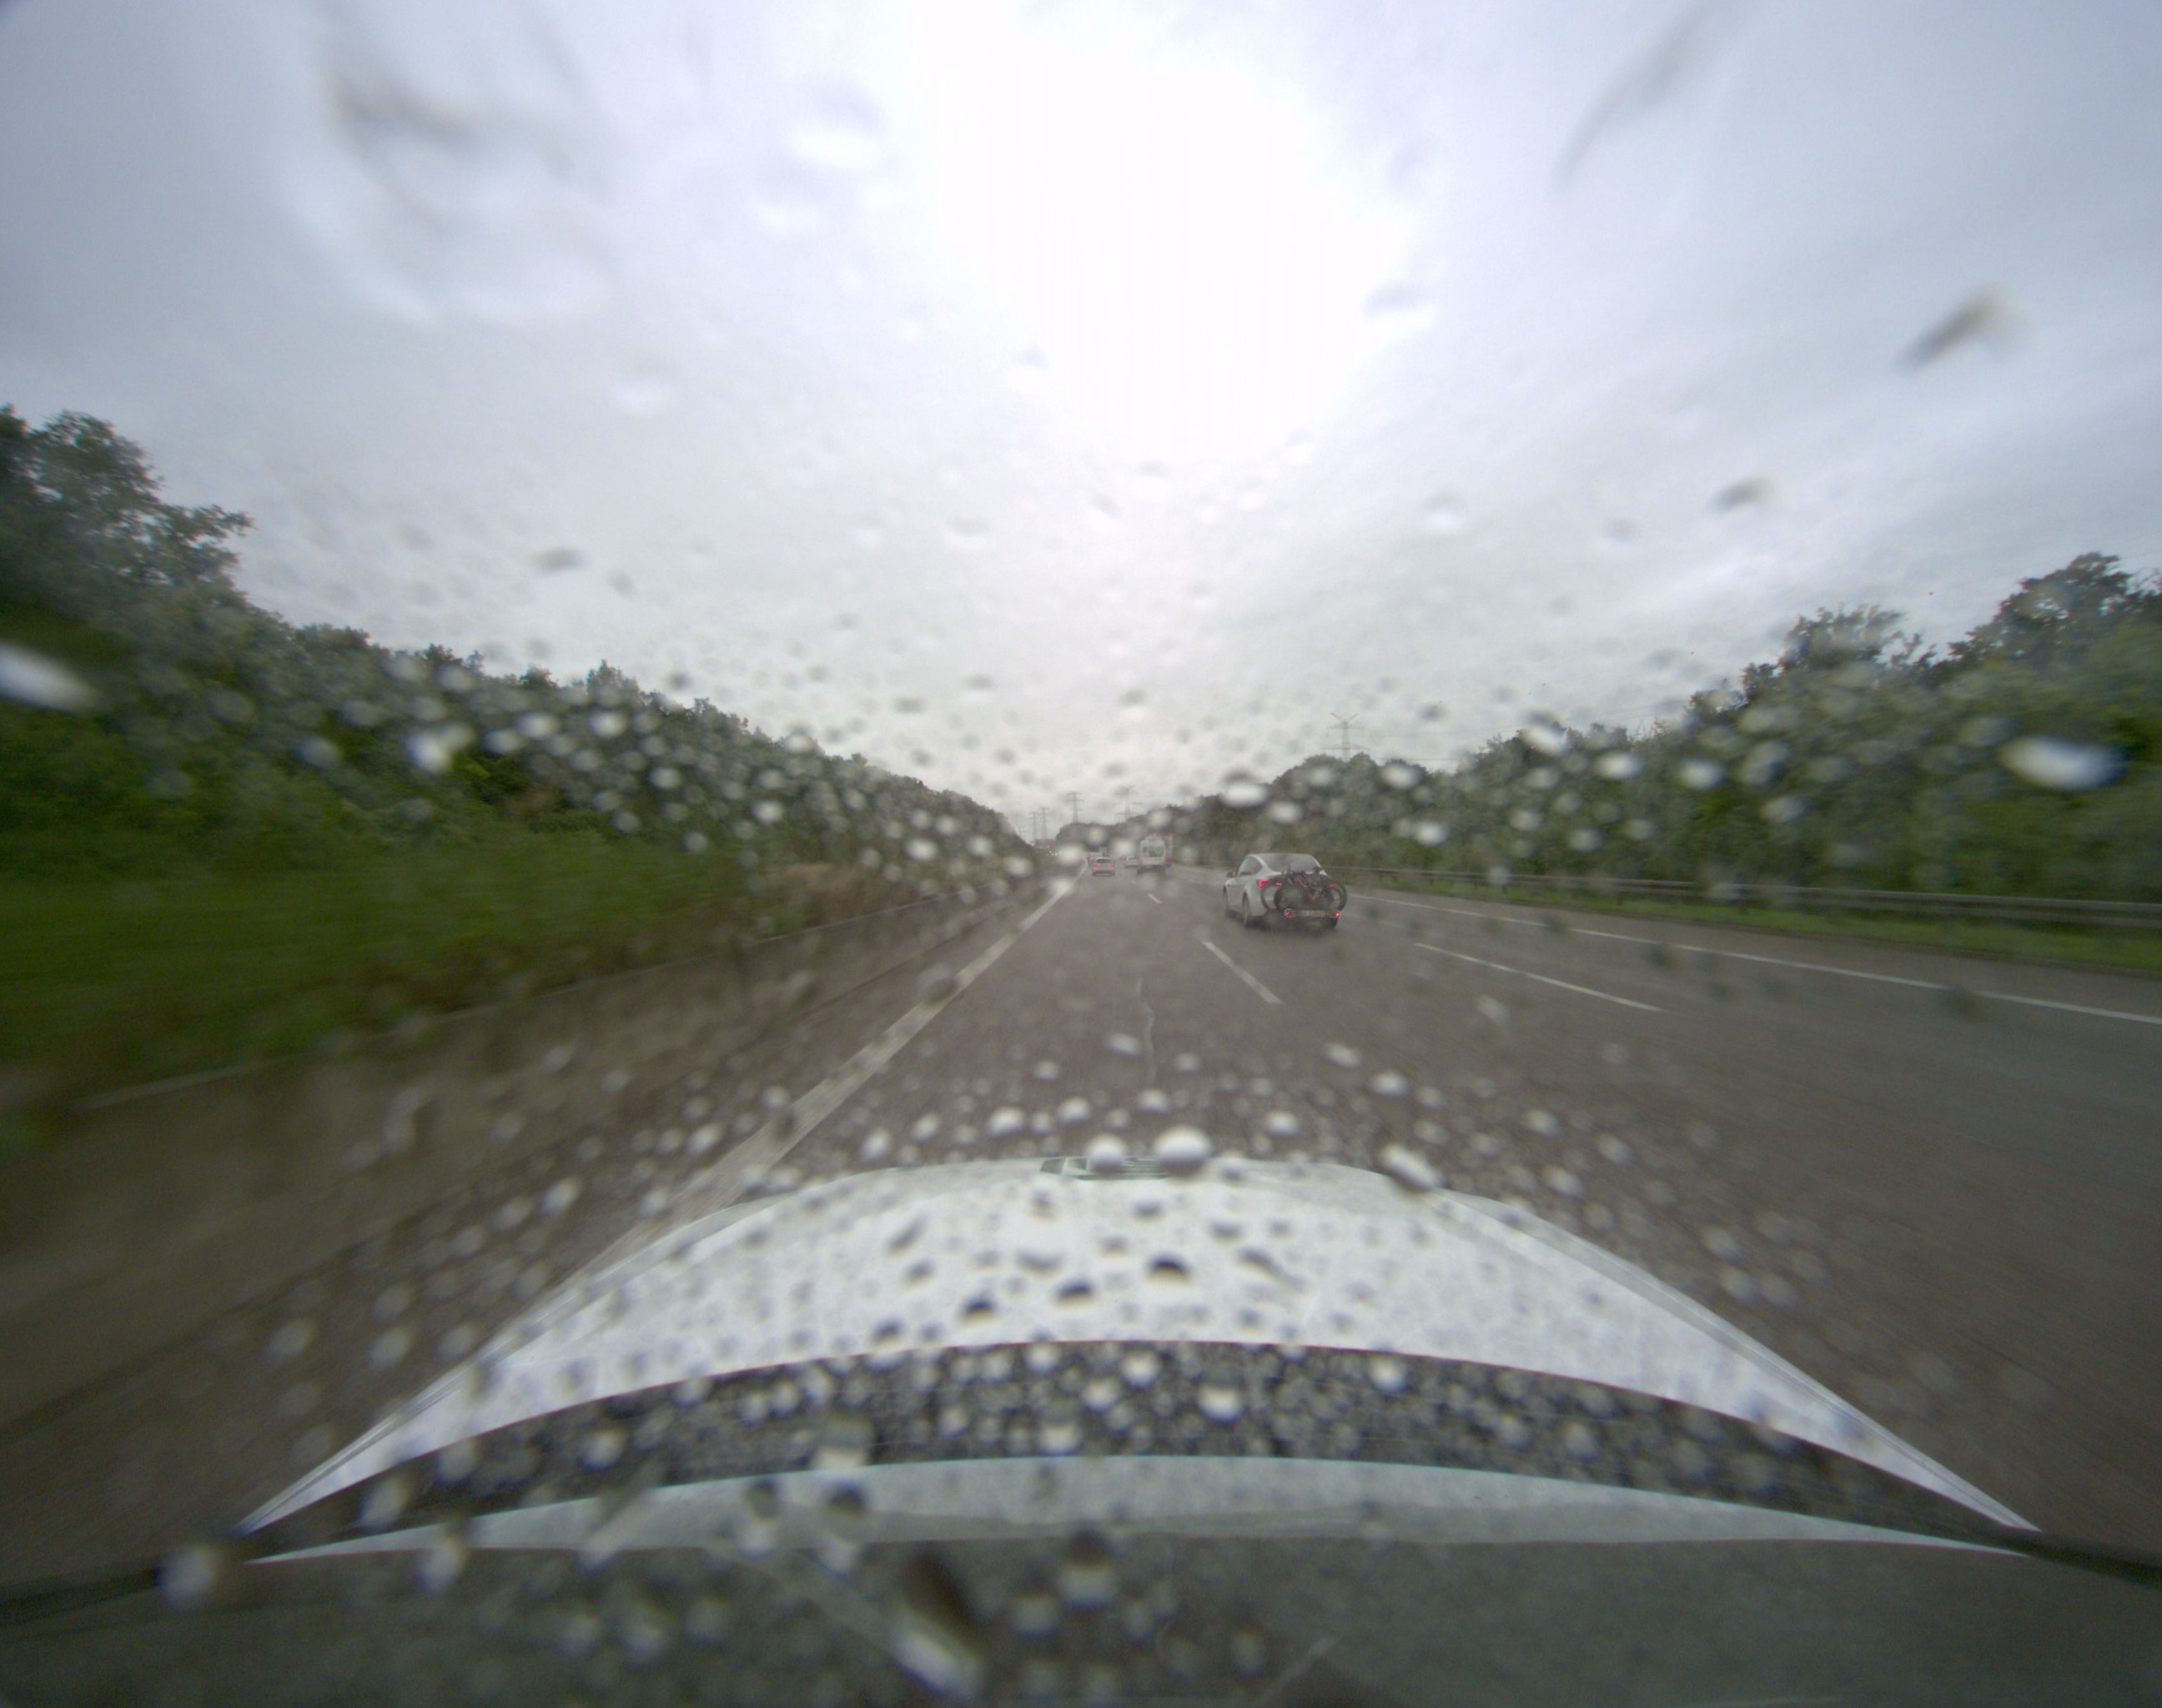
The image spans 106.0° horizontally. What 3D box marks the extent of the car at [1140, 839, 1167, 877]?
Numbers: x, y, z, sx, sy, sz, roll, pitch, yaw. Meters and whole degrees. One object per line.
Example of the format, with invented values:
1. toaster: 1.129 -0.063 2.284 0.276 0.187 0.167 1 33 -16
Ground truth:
1. car: 5.696 0.350 64.548 1.985 2.864 4.003 -1 -1 3

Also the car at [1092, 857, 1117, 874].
1. car: 1.878 0.887 64.126 1.859 1.288 4.002 -2 0 2

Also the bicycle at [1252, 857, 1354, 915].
1. bicycle: 4.315 0.620 15.954 1.746 1.090 0.914 -1 -1 1

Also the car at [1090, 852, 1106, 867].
1. car: 2.019 0.661 96.840 1.839 1.772 4.002 -2 -1 2

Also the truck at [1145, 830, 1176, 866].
1. truck: 10.281 -0.767 106.434 3.587 4.332 13.212 -1 0 4

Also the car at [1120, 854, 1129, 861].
1. car: 10.441 0.779 196.039 1.986 1.486 4.001 -3 -1 1

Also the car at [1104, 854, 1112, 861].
1. car: 7.077 0.970 215.908 1.986 1.574 4.002 -2 -1 2

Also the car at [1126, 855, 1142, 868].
1. car: 6.212 0.891 96.389 1.849 1.422 4.003 -1 0 3

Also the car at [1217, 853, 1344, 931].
1. car: 4.436 0.766 18.928 1.853 1.568 4.965 0 0 1
